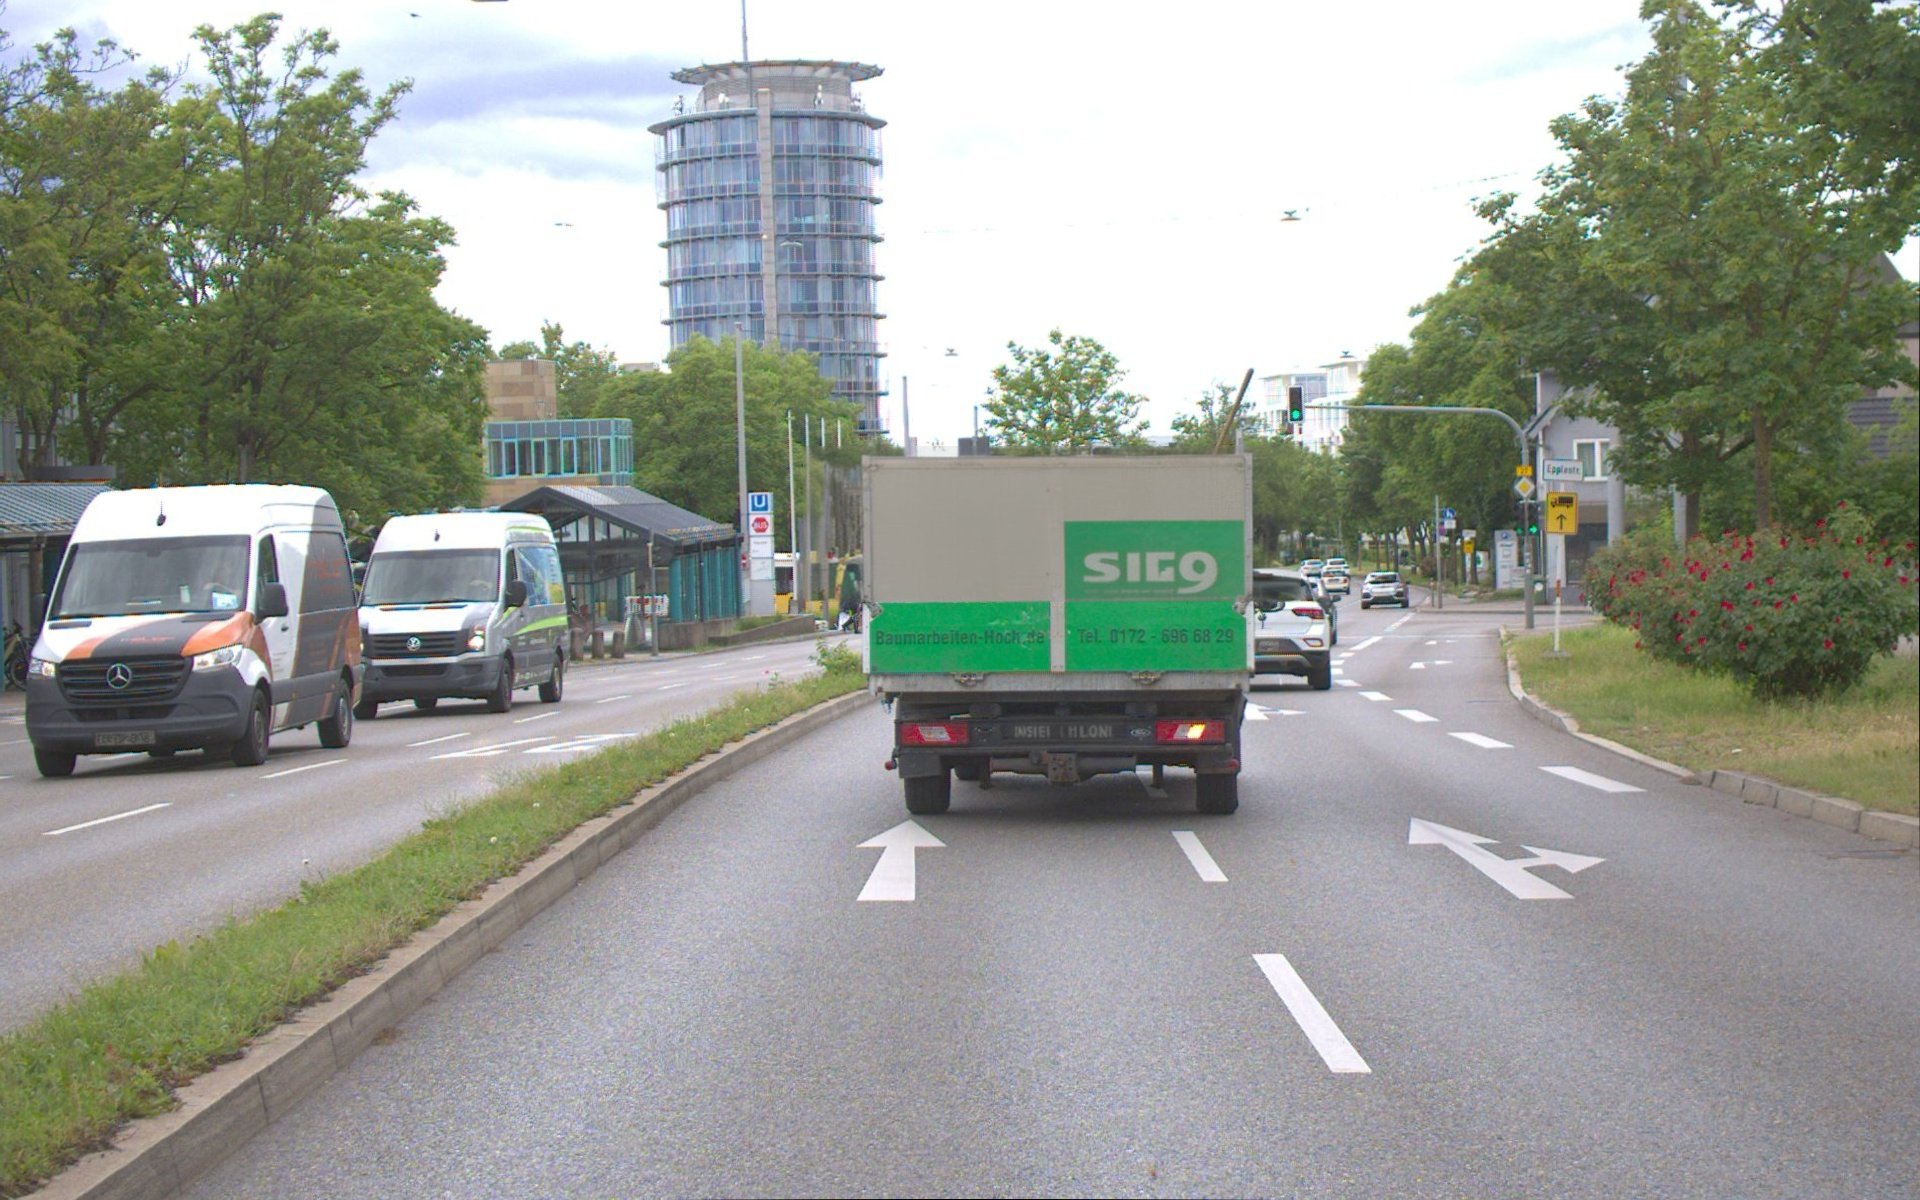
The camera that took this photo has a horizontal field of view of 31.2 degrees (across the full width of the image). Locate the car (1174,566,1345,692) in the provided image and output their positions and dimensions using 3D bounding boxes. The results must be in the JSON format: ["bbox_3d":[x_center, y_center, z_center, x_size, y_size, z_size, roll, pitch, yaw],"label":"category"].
[{"bbox_3d":[3.978,0.349,46.307,1.867,1.500,4.773,-1,1,0],"label":"car"}]

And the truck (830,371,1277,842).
[{"bbox_3d":[0.814,-0.038,22.379,2.471,2.602,6.546,0,1,5],"label":"truck"}]

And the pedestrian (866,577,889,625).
[{"bbox_3d":[-2.936,0.037,122.611,0.745,1.710,0.583,-2,0,2],"label":"pedestrian"}]

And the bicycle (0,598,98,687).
[{"bbox_3d":[-16.340,0.713,58.916,2.899,1.501,0.972,0,0,0],"label":"bicycle"}]

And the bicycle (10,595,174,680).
[{"bbox_3d":[-16.397,0.703,64.949,2.899,1.501,0.599,-2,0,1],"label":"bicycle"}]

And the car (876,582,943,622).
[{"bbox_3d":[-1.939,0.066,133.860,1.994,1.481,3.999,-2,0,8],"label":"car"}]

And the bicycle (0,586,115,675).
[{"bbox_3d":[-16.547,0.550,60.958,2.899,1.501,0.811,-2,0,2],"label":"bicycle"}]

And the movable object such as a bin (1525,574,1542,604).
[{"bbox_3d":[20.452,-0.389,122.555,0.604,1.056,0.589,0,0,11],"label":"movable object such as a bin"}]

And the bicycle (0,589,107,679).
[{"bbox_3d":[-16.461,0.605,59.946,2.899,1.501,0.891,-2,0,1],"label":"bicycle"}]

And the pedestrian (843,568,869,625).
[{"bbox_3d":[-3.721,-0.133,123.176,0.830,2.007,0.546,-2,0,2],"label":"pedestrian"}]

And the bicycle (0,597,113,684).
[{"bbox_3d":[-16.810,0.743,61.886,2.899,1.501,0.806,-2,0,1],"label":"bicycle"}]

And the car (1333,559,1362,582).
[{"bbox_3d":[28.128,-2.143,249.882,1.994,1.547,3.999,-2,0,6],"label":"car"}]

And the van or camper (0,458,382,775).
[{"bbox_3d":[-7.094,0.102,32.326,1.993,2.589,6.116,-3,1,1],"label":"van or camper"}]

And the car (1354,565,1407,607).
[{"bbox_3d":[16.349,-0.549,133.771,1.994,1.547,3.999,-2,0,7],"label":"car"}]

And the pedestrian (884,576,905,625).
[{"bbox_3d":[-2.331,0.005,121.993,0.653,1.710,0.452,-2,0,2],"label":"pedestrian"}]

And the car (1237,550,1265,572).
[{"bbox_3d":[21.662,-2.892,255.948,1.994,1.514,3.999,-2,0,5],"label":"car"}]

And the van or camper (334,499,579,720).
[{"bbox_3d":[-6.497,0.072,45.083,2.032,2.589,6.116,-3,1,1],"label":"van or camper"}]

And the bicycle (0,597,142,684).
[{"bbox_3d":[-16.432,0.736,62.473,2.899,1.501,0.806,-2,0,1],"label":"bicycle"}]

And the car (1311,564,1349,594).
[{"bbox_3d":[20.636,-1.174,191.761,1.994,1.547,3.999,-2,0,6],"label":"car"}]
